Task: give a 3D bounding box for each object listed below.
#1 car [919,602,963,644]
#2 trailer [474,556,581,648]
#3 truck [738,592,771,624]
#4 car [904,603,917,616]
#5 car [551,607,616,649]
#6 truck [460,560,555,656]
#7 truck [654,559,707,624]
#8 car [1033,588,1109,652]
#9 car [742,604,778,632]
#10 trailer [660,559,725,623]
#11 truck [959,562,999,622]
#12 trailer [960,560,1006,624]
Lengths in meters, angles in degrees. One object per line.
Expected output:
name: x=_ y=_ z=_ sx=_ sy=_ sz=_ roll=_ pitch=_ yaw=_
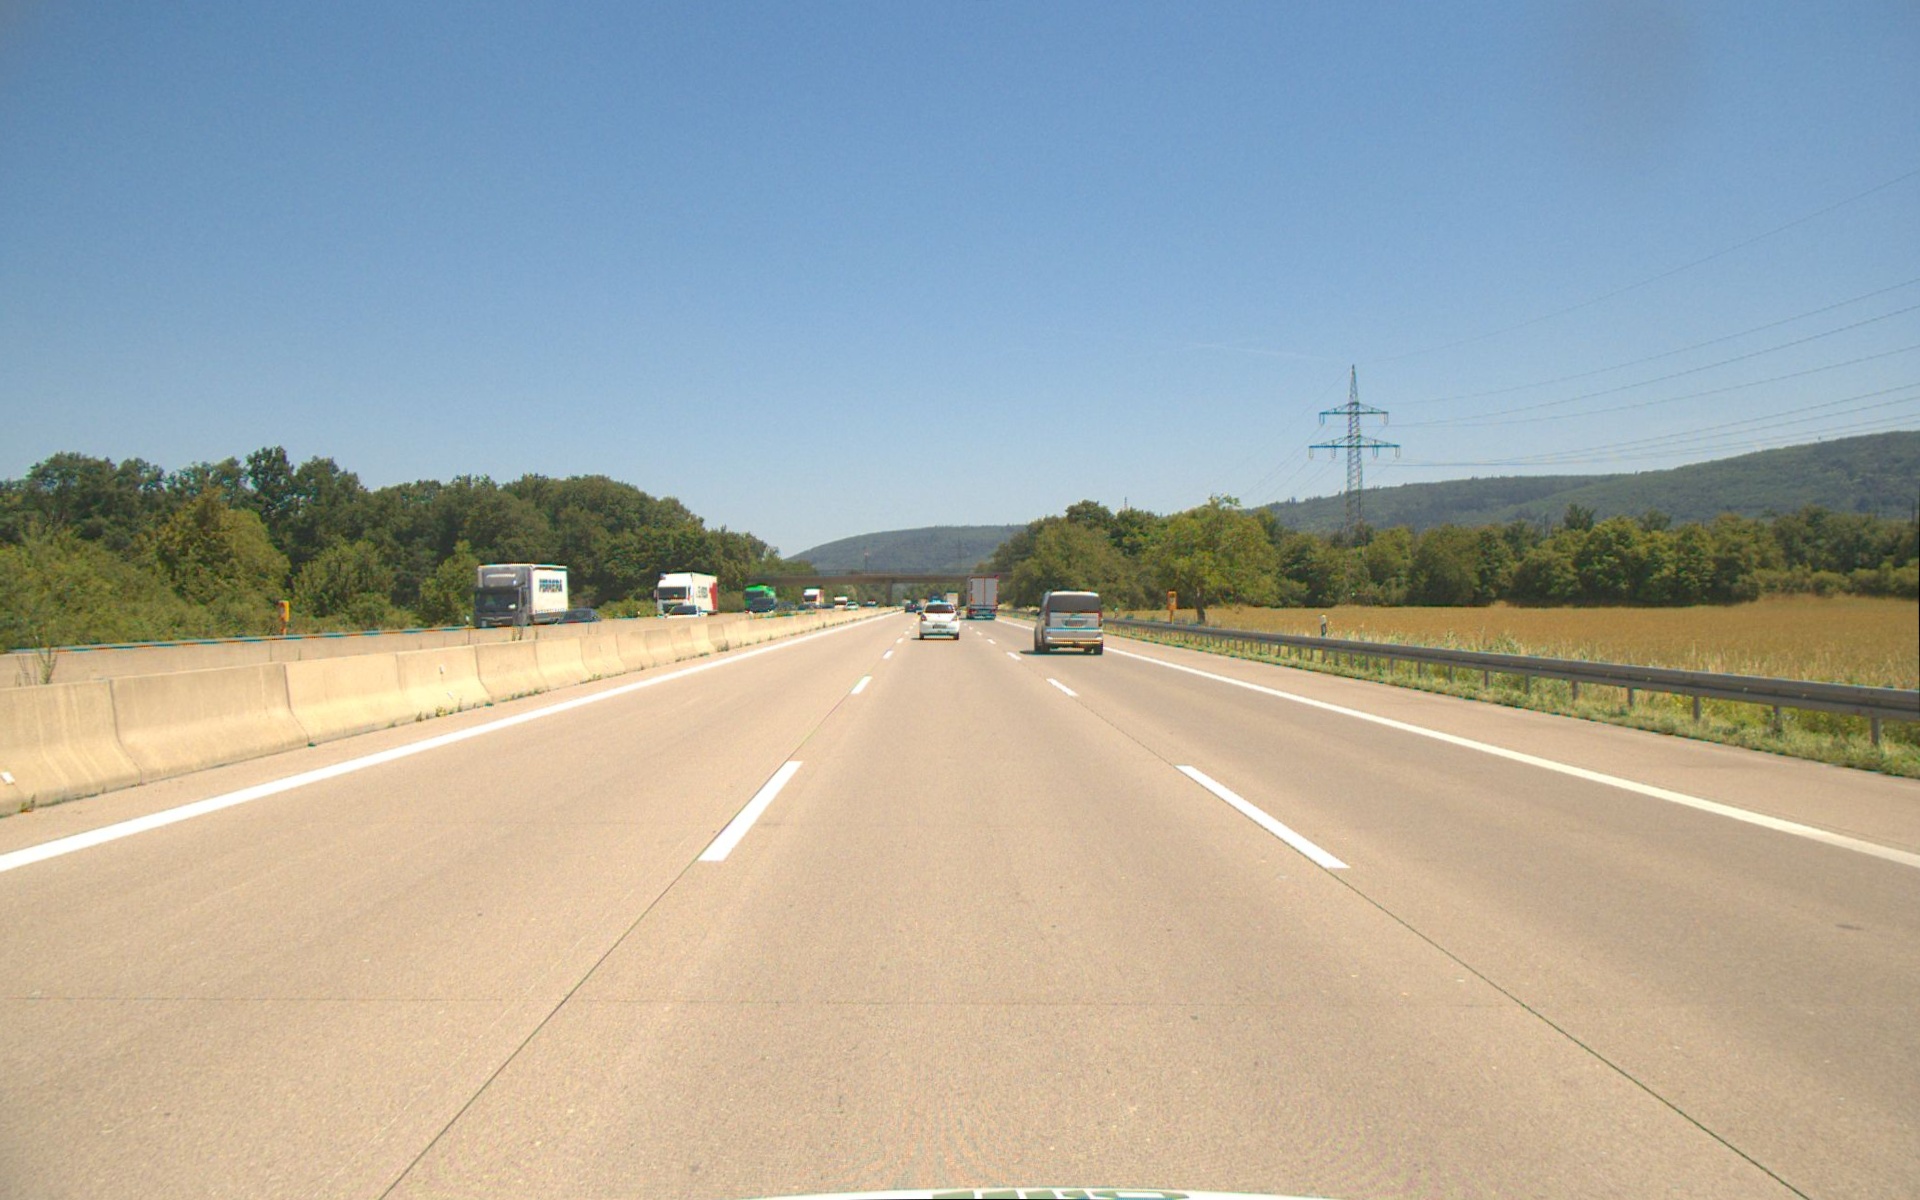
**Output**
car: x=-0.832 y=0.922 z=69.217 sx=1.782 sy=1.691 sz=3.999 roll=0 pitch=0 yaw=-2
trailer: x=-20.644 y=0.076 z=79.507 sx=2.893 sy=4.177 sz=8.483 roll=1 pitch=0 yaw=0
truck: x=-23.923 y=0.885 z=193.064 sx=2.988 sy=3.698 sz=7.975 roll=1 pitch=0 yaw=-1
car: x=-7.418 y=1.350 z=245.723 sx=1.890 sy=1.825 sz=3.999 roll=1 pitch=0 yaw=-2
car: x=-17.267 y=1.244 z=76.035 sx=1.953 sy=1.788 sz=4.714 roll=1 pitch=0 yaw=-1
truck: x=-20.591 y=0.343 z=75.506 sx=2.893 sy=4.200 sz=5.085 roll=1 pitch=0 yaw=-1
truck: x=-21.422 y=-0.654 z=127.100 sx=3.019 sy=4.845 sz=6.497 roll=1 pitch=0 yaw=-1
car: x=3.408 y=0.591 z=51.287 sx=1.953 sy=1.881 sz=3.999 roll=1 pitch=0 yaw=-2
car: x=-13.735 y=1.224 z=113.746 sx=1.953 sy=1.826 sz=4.466 roll=1 pitch=0 yaw=0
trailer: x=-21.485 y=-0.684 z=133.656 sx=3.019 sy=4.845 sz=14.371 roll=1 pitch=0 yaw=-1
truck: x=1.877 y=-0.823 z=167.113 sx=3.646 sy=5.913 sz=7.050 roll=1 pitch=0 yaw=-2
trailer: x=2.151 y=-0.789 z=160.439 sx=3.646 sy=5.913 sz=12.156 roll=1 pitch=0 yaw=-2
